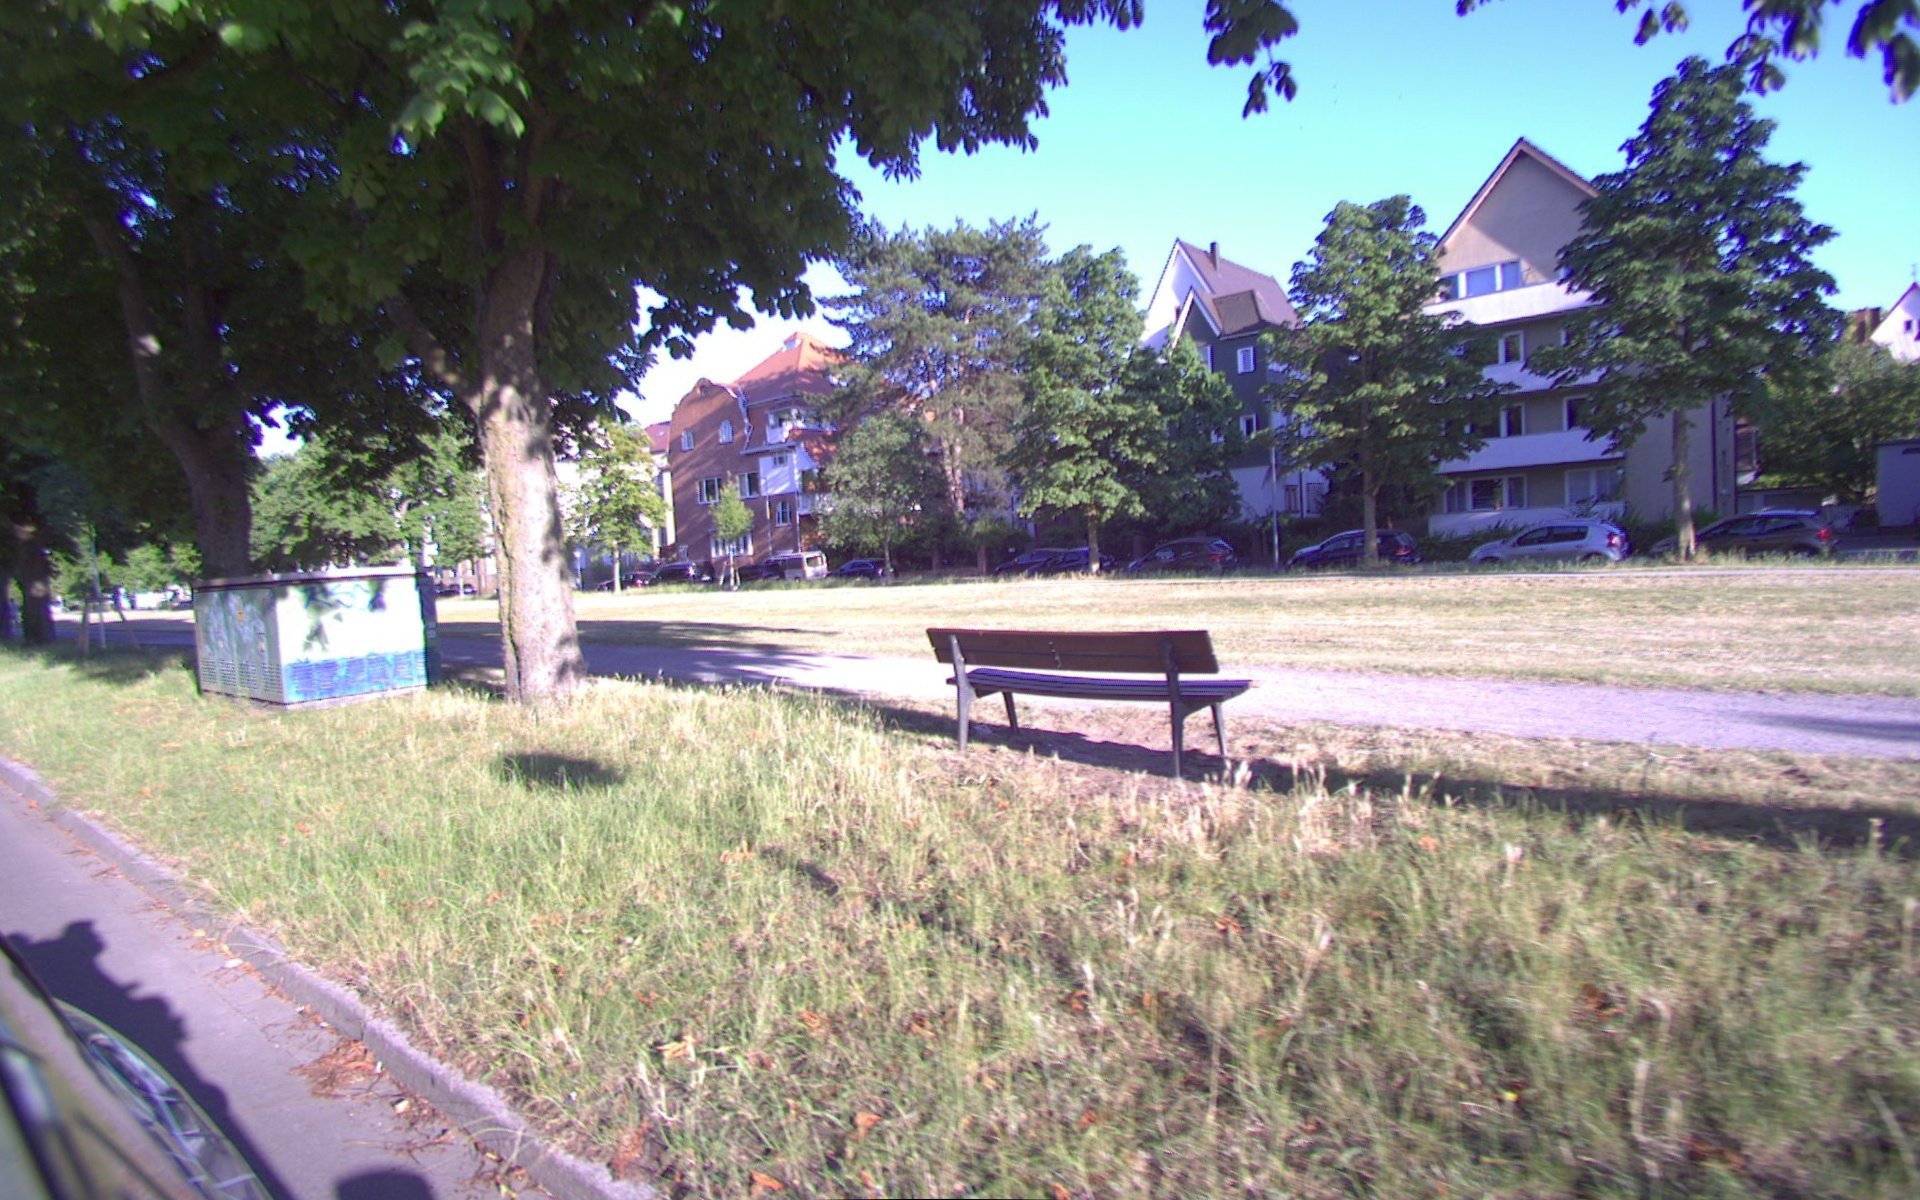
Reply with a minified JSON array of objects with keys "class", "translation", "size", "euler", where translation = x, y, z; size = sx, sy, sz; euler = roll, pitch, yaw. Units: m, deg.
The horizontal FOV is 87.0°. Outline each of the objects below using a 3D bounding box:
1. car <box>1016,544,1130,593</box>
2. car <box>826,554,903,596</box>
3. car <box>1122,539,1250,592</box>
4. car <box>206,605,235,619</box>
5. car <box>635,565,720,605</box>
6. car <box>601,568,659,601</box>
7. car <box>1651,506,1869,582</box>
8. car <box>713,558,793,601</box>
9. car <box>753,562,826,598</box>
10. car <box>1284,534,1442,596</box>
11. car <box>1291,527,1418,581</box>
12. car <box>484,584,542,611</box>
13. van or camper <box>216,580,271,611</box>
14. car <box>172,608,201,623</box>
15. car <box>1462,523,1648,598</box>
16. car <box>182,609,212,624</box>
[{"class":"car","translation":[4.411,-1.208,39.843],"size":[4.000,1.695,1.972],"euler":[0,5,43]},{"class":"car","translation":[-5.258,-1.364,55.493],"size":[4.000,2.028,1.973],"euler":[-2,3,43]},{"class":"car","translation":[8.070,-1.222,36.326],"size":[4.000,1.695,1.972],"euler":[0,5,43]},{"class":"car","translation":[-103.692,1.673,141.857],"size":[4.870,1.702,1.975],"euler":[-1,4,39]},{"class":"car","translation":[-16.052,-0.836,57.337],"size":[5.244,1.954,1.973],"euler":[-2,3,42]},{"class":"car","translation":[-23.182,-1.055,70.997],"size":[4.366,2.028,1.739],"euler":[-2,3,42]},{"class":"car","translation":[20.457,-1.410,25.984],"size":[4.254,1.661,1.973],"euler":[0,5,42]},{"class":"car","translation":[-10.902,-1.083,53.268],"size":[3.998,2.028,1.974],"euler":[-1,4,41]},{"class":"car","translation":[-10.070,-1.150,59.756],"size":[4.406,1.851,1.798],"euler":[-2,3,42]},{"class":"car","translation":[12.855,-1.085,32.391],"size":[4.254,1.733,1.973],"euler":[0,5,42]},{"class":"car","translation":[14.792,-1.716,38.010],"size":[3.995,1.795,1.975],"euler":[-1,5,39]},{"class":"car","translation":[-31.134,-0.174,70.434],"size":[4.647,1.651,1.801],"euler":[-2,3,41]},{"class":"van or camper","translation":[-81.106,-0.438,114.508],"size":[7.893,3.133,3.221],"euler":[-1,4,41]},{"class":"car","translation":[-100.296,2.047,131.211],"size":[4.874,1.702,1.973],"euler":[-1,4,41]},{"class":"car","translation":[16.891,-1.102,28.829],"size":[4.254,1.873,1.973],"euler":[0,5,42]},{"class":"car","translation":[-96.120,2.034,127.544],"size":[4.874,1.702,1.973],"euler":[-1,4,41]}]
